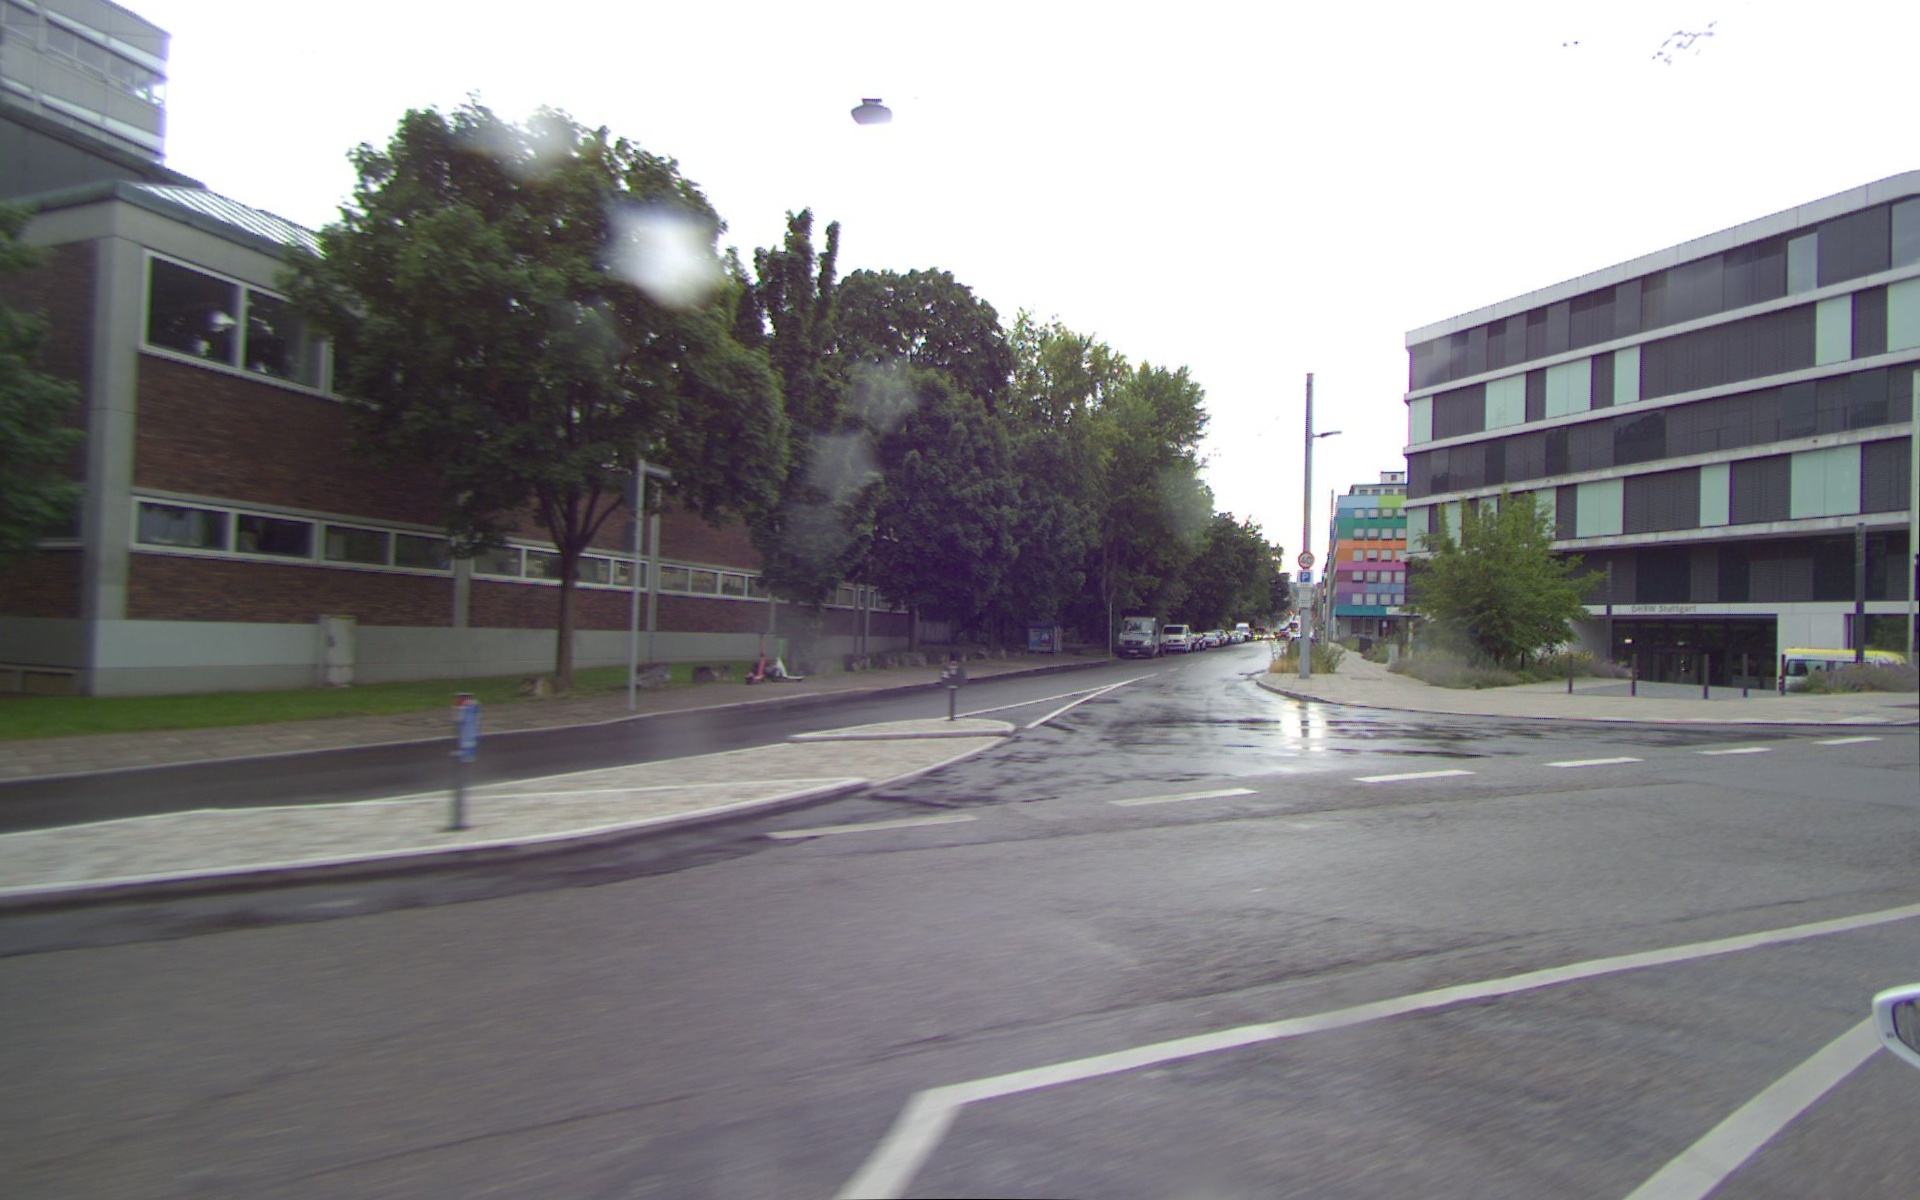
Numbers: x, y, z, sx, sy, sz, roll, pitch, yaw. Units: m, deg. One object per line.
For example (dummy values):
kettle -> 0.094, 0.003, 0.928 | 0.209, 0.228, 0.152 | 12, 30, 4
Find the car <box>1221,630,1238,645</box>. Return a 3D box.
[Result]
car -> 30.668, 4.275, 114.174 | 1.712, 1.628, 3.899 | 1, -1, 17

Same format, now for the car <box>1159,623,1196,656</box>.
car -> 15.187, 2.698, 70.121 | 2.126, 2.124, 4.840 | 1, -1, 17

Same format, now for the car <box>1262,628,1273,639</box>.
car -> 49.685, 5.366, 162.264 | 1.712, 1.628, 3.899 | 1, -1, 17

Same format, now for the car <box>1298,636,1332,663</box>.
car -> 21.348, 2.941, 60.360 | 1.636, 1.469, 3.866 | 1, -1, 24

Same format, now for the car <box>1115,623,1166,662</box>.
car -> 10.324, 2.396, 57.131 | 2.036, 2.070, 4.278 | 1, -1, 22

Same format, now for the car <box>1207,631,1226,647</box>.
car -> 26.810, 4.059, 104.794 | 1.712, 1.628, 3.899 | 1, -1, 17

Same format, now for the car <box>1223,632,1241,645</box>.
car -> 34.206, 4.826, 126.372 | 1.960, 1.546, 4.001 | 1, -1, 18

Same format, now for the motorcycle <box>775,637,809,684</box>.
motorcycle -> -4.213, 1.508, 25.281 | 0.404, 1.139, 1.171 | 1, -2, 13

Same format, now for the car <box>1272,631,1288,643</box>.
car -> 45.775, 5.272, 143.528 | 1.961, 1.682, 4.000 | 1, -1, 21

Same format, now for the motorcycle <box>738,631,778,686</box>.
motorcycle -> -4.656, 1.333, 23.225 | 0.404, 1.200, 1.228 | 1, -1, 13

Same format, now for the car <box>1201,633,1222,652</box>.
car -> 23.570, 3.950, 94.070 | 1.712, 1.628, 3.867 | 1, -1, 17

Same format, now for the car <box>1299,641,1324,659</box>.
car -> 26.052, 3.683, 74.358 | 1.453, 1.257, 3.398 | 1, -1, 24

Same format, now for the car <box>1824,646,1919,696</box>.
car -> 42.327, 3.206, 45.707 | 1.576, 2.059, 4.330 | 2, -1, -24

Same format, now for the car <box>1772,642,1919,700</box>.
car -> 38.746, 3.053, 43.974 | 1.909, 2.203, 4.568 | 2, -1, -30

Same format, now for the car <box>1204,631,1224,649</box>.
car -> 24.926, 3.933, 98.616 | 1.712, 1.628, 3.899 | 1, -1, 17

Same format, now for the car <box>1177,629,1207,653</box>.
car -> 17.659, 3.088, 76.375 | 1.892, 1.628, 4.281 | 1, -1, 17

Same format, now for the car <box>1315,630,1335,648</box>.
car -> 32.169, 3.428, 88.469 | 1.414, 1.514, 3.637 | 0, -1, 24
